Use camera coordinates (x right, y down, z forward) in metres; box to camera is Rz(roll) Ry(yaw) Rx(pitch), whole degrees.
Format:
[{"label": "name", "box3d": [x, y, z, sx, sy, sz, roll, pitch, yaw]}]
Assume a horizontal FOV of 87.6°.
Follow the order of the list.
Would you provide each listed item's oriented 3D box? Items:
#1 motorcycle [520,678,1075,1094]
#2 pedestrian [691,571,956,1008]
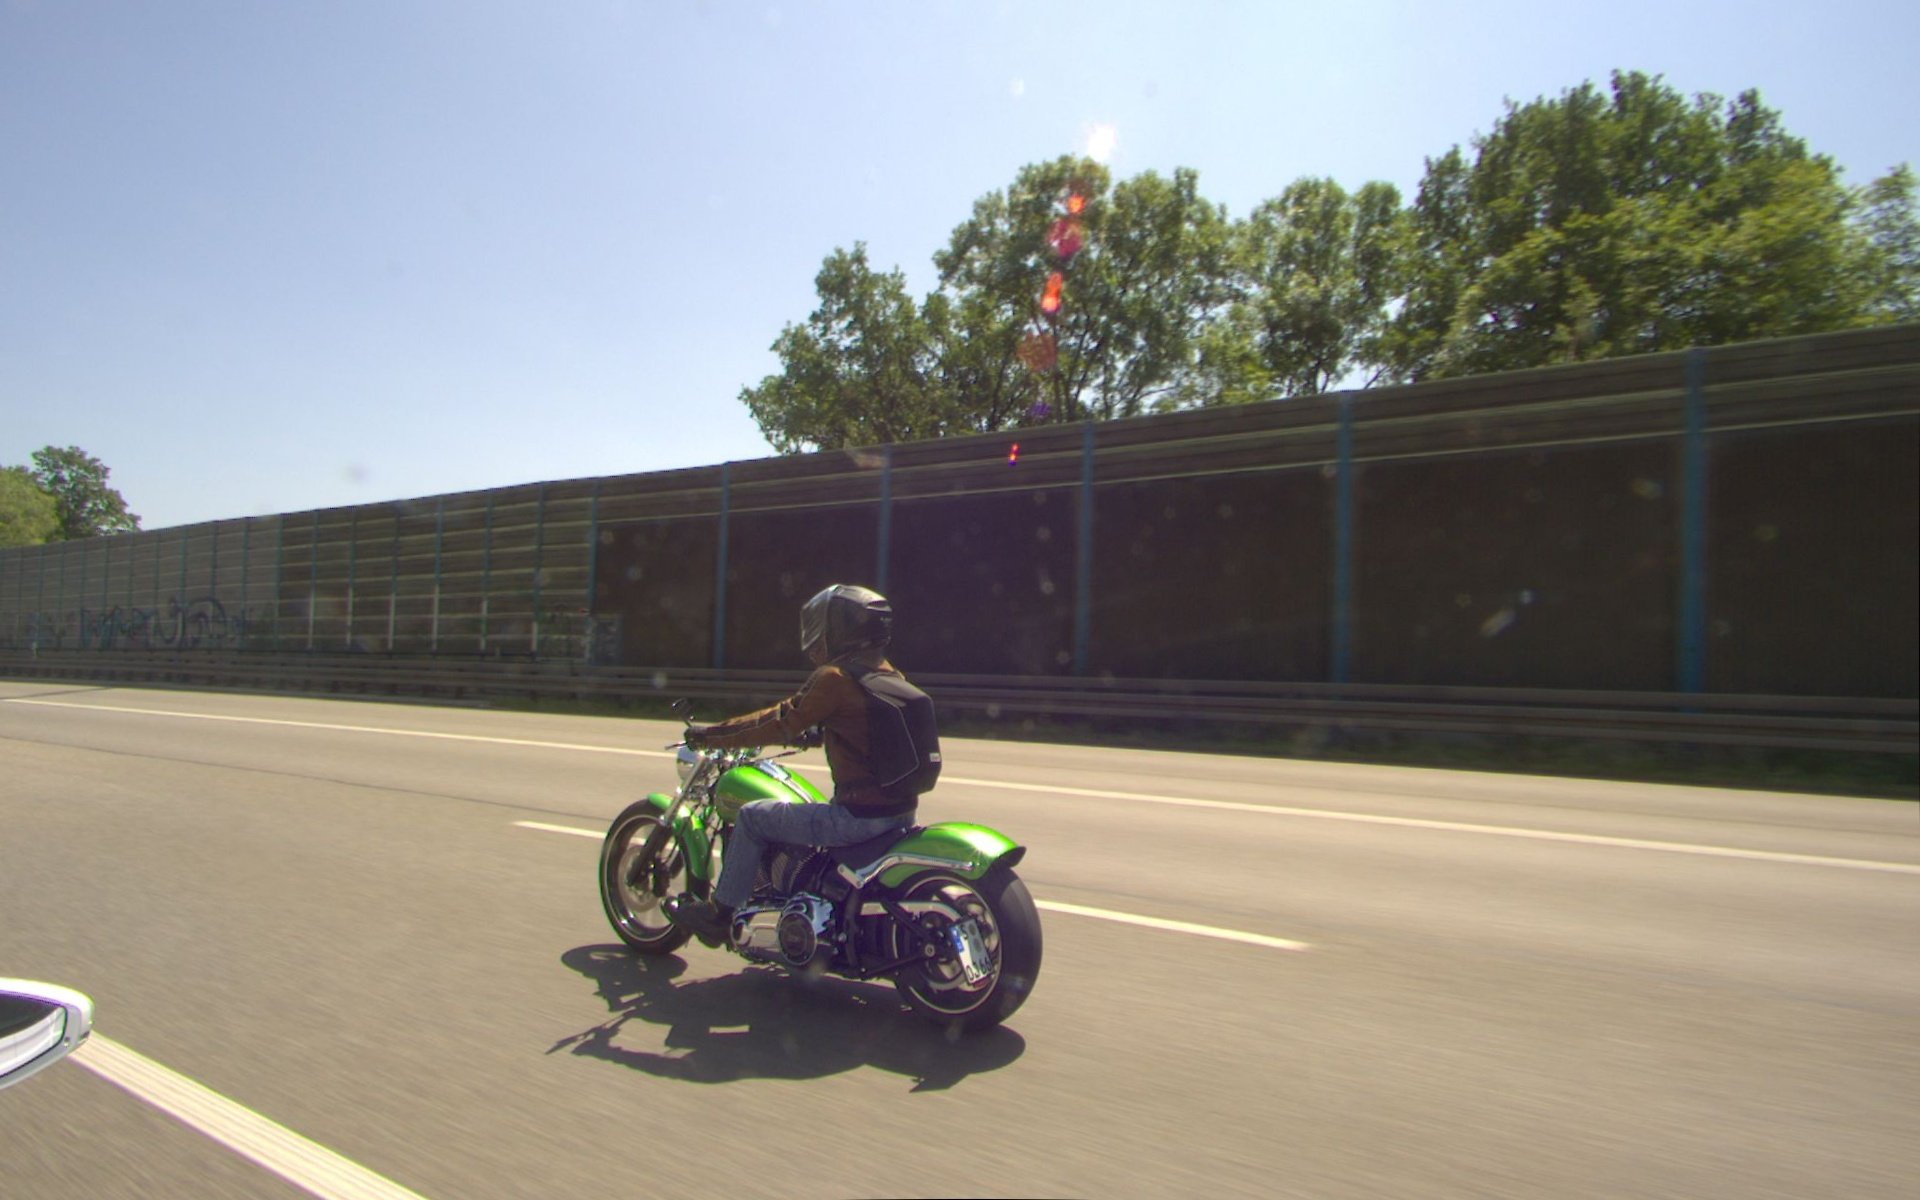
[{"label": "motorcycle", "box3d": [-0.732, 0.972, 4.113, 2.244, 1.197, 0.858, 0, -2, 33]}, {"label": "pedestrian", "box3d": [-0.515, 0.668, 3.972, 0.629, 1.497, 0.850, 0, -1, 32]}]
